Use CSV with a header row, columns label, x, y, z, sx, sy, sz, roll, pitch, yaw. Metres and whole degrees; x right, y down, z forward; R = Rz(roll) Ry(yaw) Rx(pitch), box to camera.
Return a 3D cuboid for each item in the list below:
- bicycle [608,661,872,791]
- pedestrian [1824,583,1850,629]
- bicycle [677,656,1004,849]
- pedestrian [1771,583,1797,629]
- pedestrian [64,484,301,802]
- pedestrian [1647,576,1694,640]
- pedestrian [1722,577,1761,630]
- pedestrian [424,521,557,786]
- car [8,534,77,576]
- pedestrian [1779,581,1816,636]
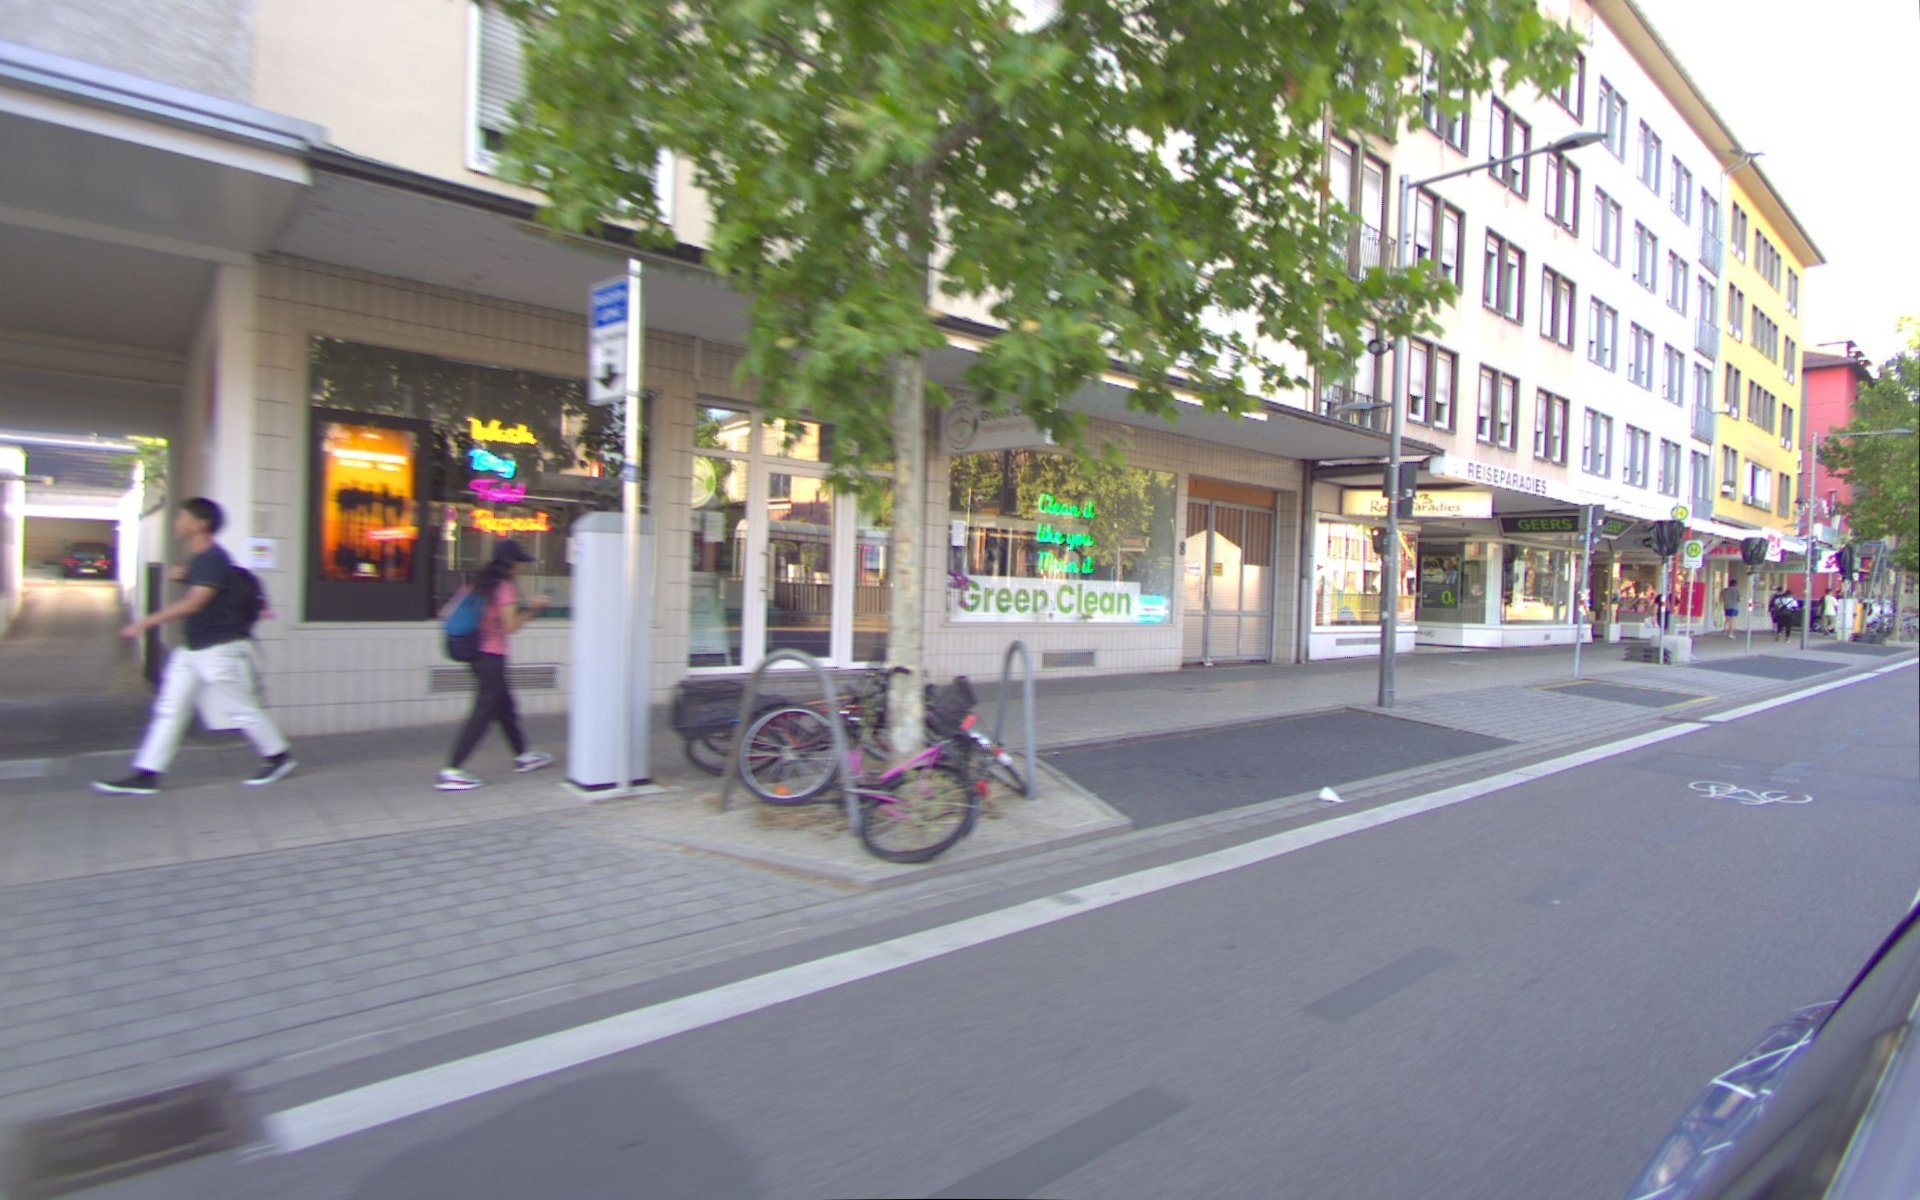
label,x,y,z,sx,sy,sz,roll,pitch,yaw
bicycle,-1.401,0.785,6.810,0.831,0.579,1.745,3,2,26
pedestrian,32.516,0.216,37.513,0.640,1.675,0.634,0,0,-41
bicycle,-0.697,0.802,5.765,1.744,0.788,0.696,3,2,27
pedestrian,30.215,0.205,37.111,0.640,1.675,0.634,0,0,-41
pedestrian,-4.544,0.214,5.939,1.051,1.695,0.569,0,3,-41
pedestrian,19.058,0.194,27.153,0.900,1.675,0.851,0,0,-41
pedestrian,25.371,0.106,32.871,0.900,1.675,0.851,0,0,-41
pedestrian,-2.987,0.309,6.435,0.637,1.586,0.490,1,3,-40
car,-40.122,-1.936,44.329,1.964,1.660,3.996,-1,0,-38
pedestrian,26.554,0.257,32.096,0.647,1.695,0.693,0,3,-41
